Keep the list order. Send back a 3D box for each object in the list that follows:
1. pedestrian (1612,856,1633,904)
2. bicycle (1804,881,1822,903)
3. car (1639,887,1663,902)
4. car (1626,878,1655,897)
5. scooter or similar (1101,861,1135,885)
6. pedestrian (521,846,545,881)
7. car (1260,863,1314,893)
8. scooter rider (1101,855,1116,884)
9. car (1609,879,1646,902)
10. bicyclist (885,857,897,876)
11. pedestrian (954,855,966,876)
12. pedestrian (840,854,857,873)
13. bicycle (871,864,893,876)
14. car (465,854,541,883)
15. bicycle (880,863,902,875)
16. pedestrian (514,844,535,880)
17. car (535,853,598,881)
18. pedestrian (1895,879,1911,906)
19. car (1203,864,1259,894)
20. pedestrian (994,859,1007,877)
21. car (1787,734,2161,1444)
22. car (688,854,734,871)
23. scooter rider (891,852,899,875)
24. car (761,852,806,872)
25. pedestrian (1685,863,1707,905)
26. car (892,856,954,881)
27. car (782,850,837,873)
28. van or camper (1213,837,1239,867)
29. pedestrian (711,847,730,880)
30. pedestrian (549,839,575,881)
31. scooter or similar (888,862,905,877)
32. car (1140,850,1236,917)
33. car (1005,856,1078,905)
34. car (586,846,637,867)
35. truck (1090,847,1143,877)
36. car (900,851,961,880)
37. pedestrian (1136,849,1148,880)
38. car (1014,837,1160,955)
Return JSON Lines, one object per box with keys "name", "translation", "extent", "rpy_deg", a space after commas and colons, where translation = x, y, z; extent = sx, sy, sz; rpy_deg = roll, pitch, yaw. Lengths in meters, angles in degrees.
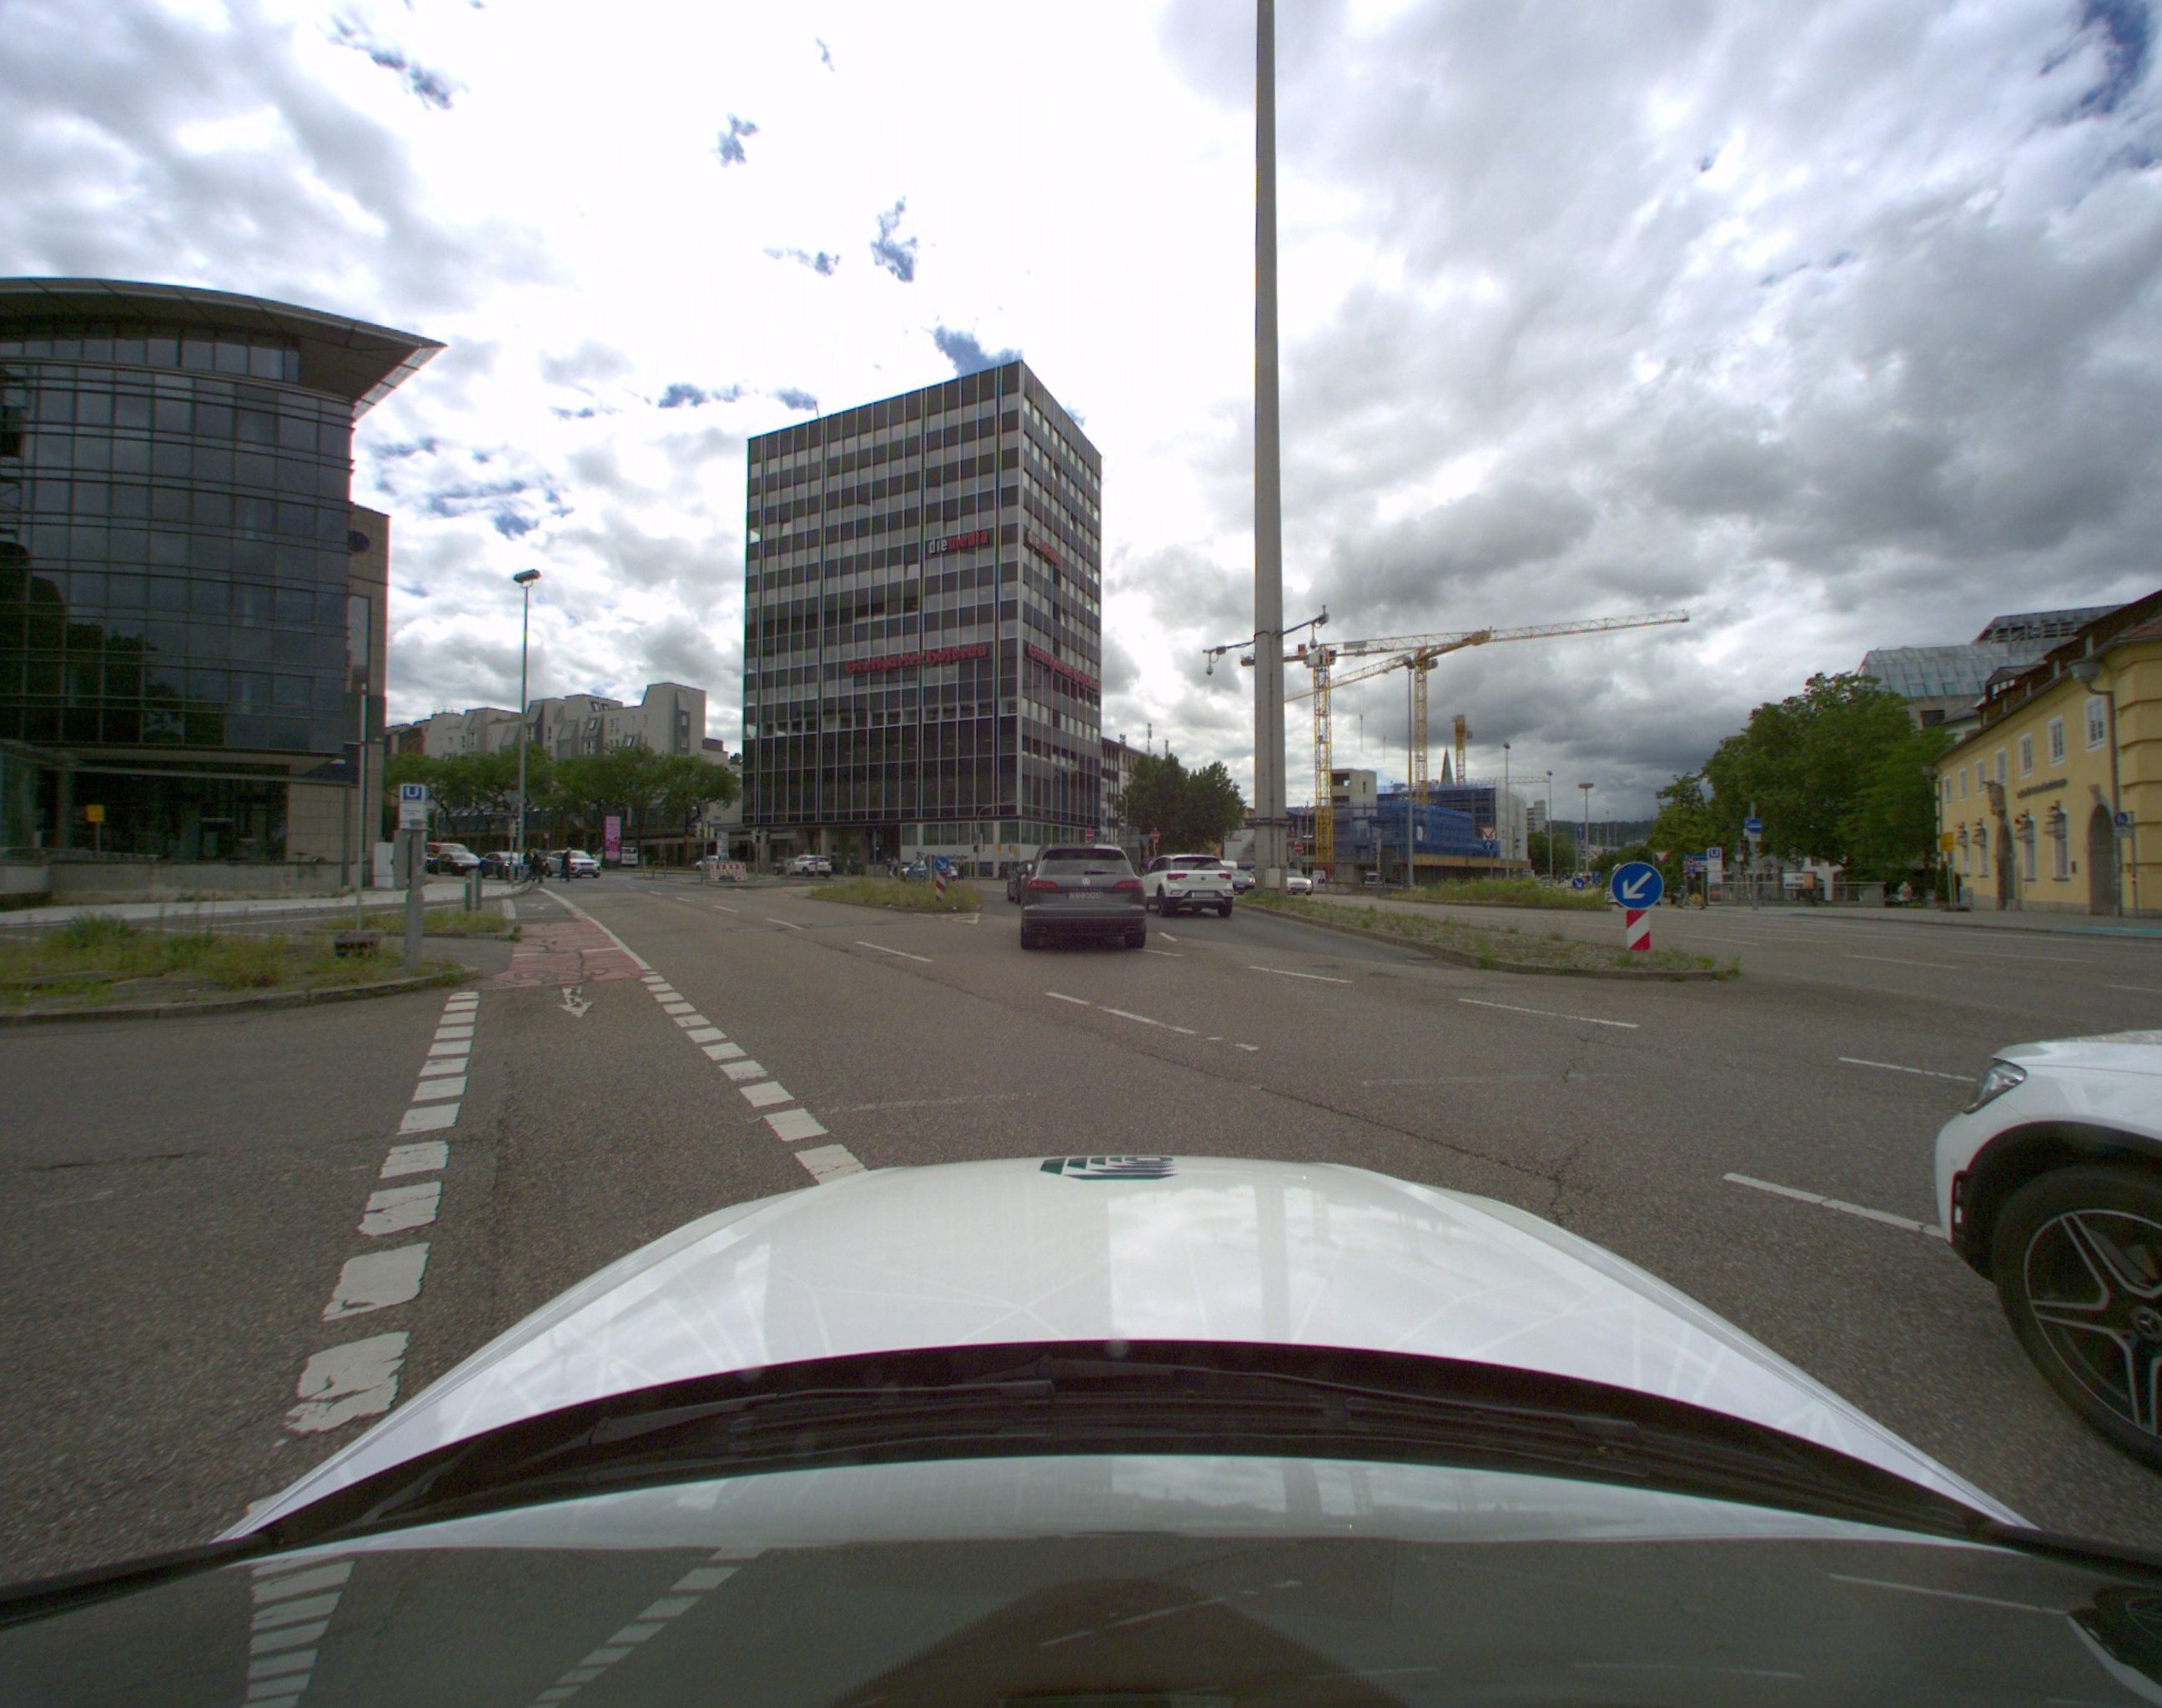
{"name": "pedestrian", "translation": [21.965, 1.043, 33.060], "extent": [0.552, 1.894, 0.642], "rpy_deg": [0, 2, 18]}
{"name": "bicycle", "translation": [37.508, 1.920, 41.752], "extent": [0.613, 1.086, 1.783], "rpy_deg": [0, -1, 39]}
{"name": "car", "translation": [72.269, 5.142, 103.279], "extent": [1.975, 1.634, 4.024], "rpy_deg": [1, 1, 43]}
{"name": "car", "translation": [52.627, 3.114, 76.620], "extent": [1.974, 1.634, 4.025], "rpy_deg": [1, 1, 38]}
{"name": "scooter or similar", "translation": [2.233, 1.127, 48.739], "extent": [1.869, 1.407, 0.779], "rpy_deg": [1, -1, 13]}
{"name": "pedestrian", "translation": [-26.593, 0.455, 39.545], "extent": [0.624, 1.700, 0.774], "rpy_deg": [0, -1, 34]}
{"name": "car", "translation": [11.117, 1.277, 44.151], "extent": [1.721, 1.418, 3.641], "rpy_deg": [1, 0, -5]}
{"name": "scooter rider", "translation": [1.658, 0.912, 48.875], "extent": [0.738, 1.694, 0.769], "rpy_deg": [1, -1, 14]}
{"name": "car", "translation": [41.029, 2.774, 61.102], "extent": [1.855, 1.602, 4.024], "rpy_deg": [1, -2, 40]}
{"name": "bicyclist", "translation": [-15.761, 1.029, 67.420], "extent": [0.840, 1.549, 0.565], "rpy_deg": [0, 0, 1]}
{"name": "pedestrian", "translation": [-9.643, 0.909, 64.993], "extent": [0.792, 1.697, 0.551], "rpy_deg": [0, 0, 23]}
{"name": "pedestrian", "translation": [-20.337, 0.862, 71.286], "extent": [0.951, 1.633, 1.073], "rpy_deg": [0, 0, 23]}
{"name": "bicycle", "translation": [-17.267, 1.374, 70.663], "extent": [1.746, 1.006, 0.684], "rpy_deg": [2, 2, 22]}
{"name": "car", "translation": [-32.812, 0.794, 46.227], "extent": [4.039, 1.525, 2.012], "rpy_deg": [1, 0, 31]}
{"name": "bicycle", "translation": [-15.737, 1.249, 67.423], "extent": [1.658, 1.027, 0.581], "rpy_deg": [0, 0, 0]}
{"name": "pedestrian", "translation": [-27.263, 0.389, 39.892], "extent": [0.624, 1.700, 0.648], "rpy_deg": [0, -1, 34]}
{"name": "car", "translation": [-30.692, 0.728, 48.531], "extent": [4.263, 1.598, 1.751], "rpy_deg": [0, 0, 37]}
{"name": "pedestrian", "translation": [44.978, 2.110, 44.579], "extent": [0.620, 1.450, 0.727], "rpy_deg": [0, 0, 45]}
{"name": "car", "translation": [7.374, 1.201, 40.464], "extent": [1.668, 1.264, 4.050], "rpy_deg": [-2, 0, -6]}
{"name": "pedestrian", "translation": [-6.389, 1.111, 64.632], "extent": [0.828, 1.443, 0.609], "rpy_deg": [0, 0, 25]}
{"name": "car", "translation": [3.381, 0.559, 0.744], "extent": [1.795, 1.646, 4.335], "rpy_deg": [0, 1, 1]}
{"name": "car", "translation": [-33.105, 0.759, 72.843], "extent": [4.278, 1.418, 2.076], "rpy_deg": [1, 1, 39]}
{"name": "scooter rider", "translation": [-15.128, 0.766, 66.285], "extent": [0.642, 1.808, 0.591], "rpy_deg": [0, 0, -12]}
{"name": "car", "translation": [-24.182, 0.643, 66.106], "extent": [3.950, 1.574, 1.877], "rpy_deg": [1, 1, 44]}
{"name": "pedestrian", "translation": [26.406, 1.273, 34.968], "extent": [0.743, 1.789, 0.833], "rpy_deg": [0, 0, 37]}
{"name": "car", "translation": [-10.379, 0.918, 53.433], "extent": [3.718, 1.517, 1.850], "rpy_deg": [0, 0, 33]}
{"name": "car", "translation": [-19.440, 0.512, 58.319], "extent": [3.718, 1.567, 1.850], "rpy_deg": [0, 0, 33]}
{"name": "van or camper", "translation": [12.484, -0.184, 69.900], "extent": [2.126, 2.477, 6.180], "rpy_deg": [0, 0, 11]}
{"name": "pedestrian", "translation": [-20.250, 0.550, 45.746], "extent": [0.626, 1.790, 0.722], "rpy_deg": [2, 3, 29]}
{"name": "pedestrian", "translation": [-27.155, 0.320, 42.619], "extent": [0.755, 2.172, 0.882], "rpy_deg": [0, 0, 11]}
{"name": "scooter or similar", "translation": [-15.003, 1.250, 66.313], "extent": [1.320, 1.176, 0.591], "rpy_deg": [0, 0, -12]}
{"name": "car", "translation": [2.676, 0.692, 21.219], "extent": [1.793, 1.545, 3.931], "rpy_deg": [0, 1, -3]}
{"name": "car", "translation": [-1.373, 0.822, 26.647], "extent": [1.833, 1.395, 4.133], "rpy_deg": [2, 0, -10]}
{"name": "car", "translation": [-43.057, 0.170, 74.689], "extent": [4.809, 1.874, 1.849], "rpy_deg": [0, 0, 29]}
{"name": "truck", "translation": [3.968, 0.933, 89.542], "extent": [2.316, 3.064, 8.249], "rpy_deg": [0, -1, 29]}
{"name": "car", "translation": [-8.412, 0.603, 45.253], "extent": [1.847, 1.517, 3.725], "rpy_deg": [0, 0, -38]}
{"name": "pedestrian", "translation": [3.798, 0.655, 50.592], "extent": [0.637, 1.955, 0.612], "rpy_deg": [1, -1, 9]}
{"name": "car", "translation": [-0.078, 0.577, 13.891], "extent": [1.968, 1.695, 4.214], "rpy_deg": [0, 1, -7]}
